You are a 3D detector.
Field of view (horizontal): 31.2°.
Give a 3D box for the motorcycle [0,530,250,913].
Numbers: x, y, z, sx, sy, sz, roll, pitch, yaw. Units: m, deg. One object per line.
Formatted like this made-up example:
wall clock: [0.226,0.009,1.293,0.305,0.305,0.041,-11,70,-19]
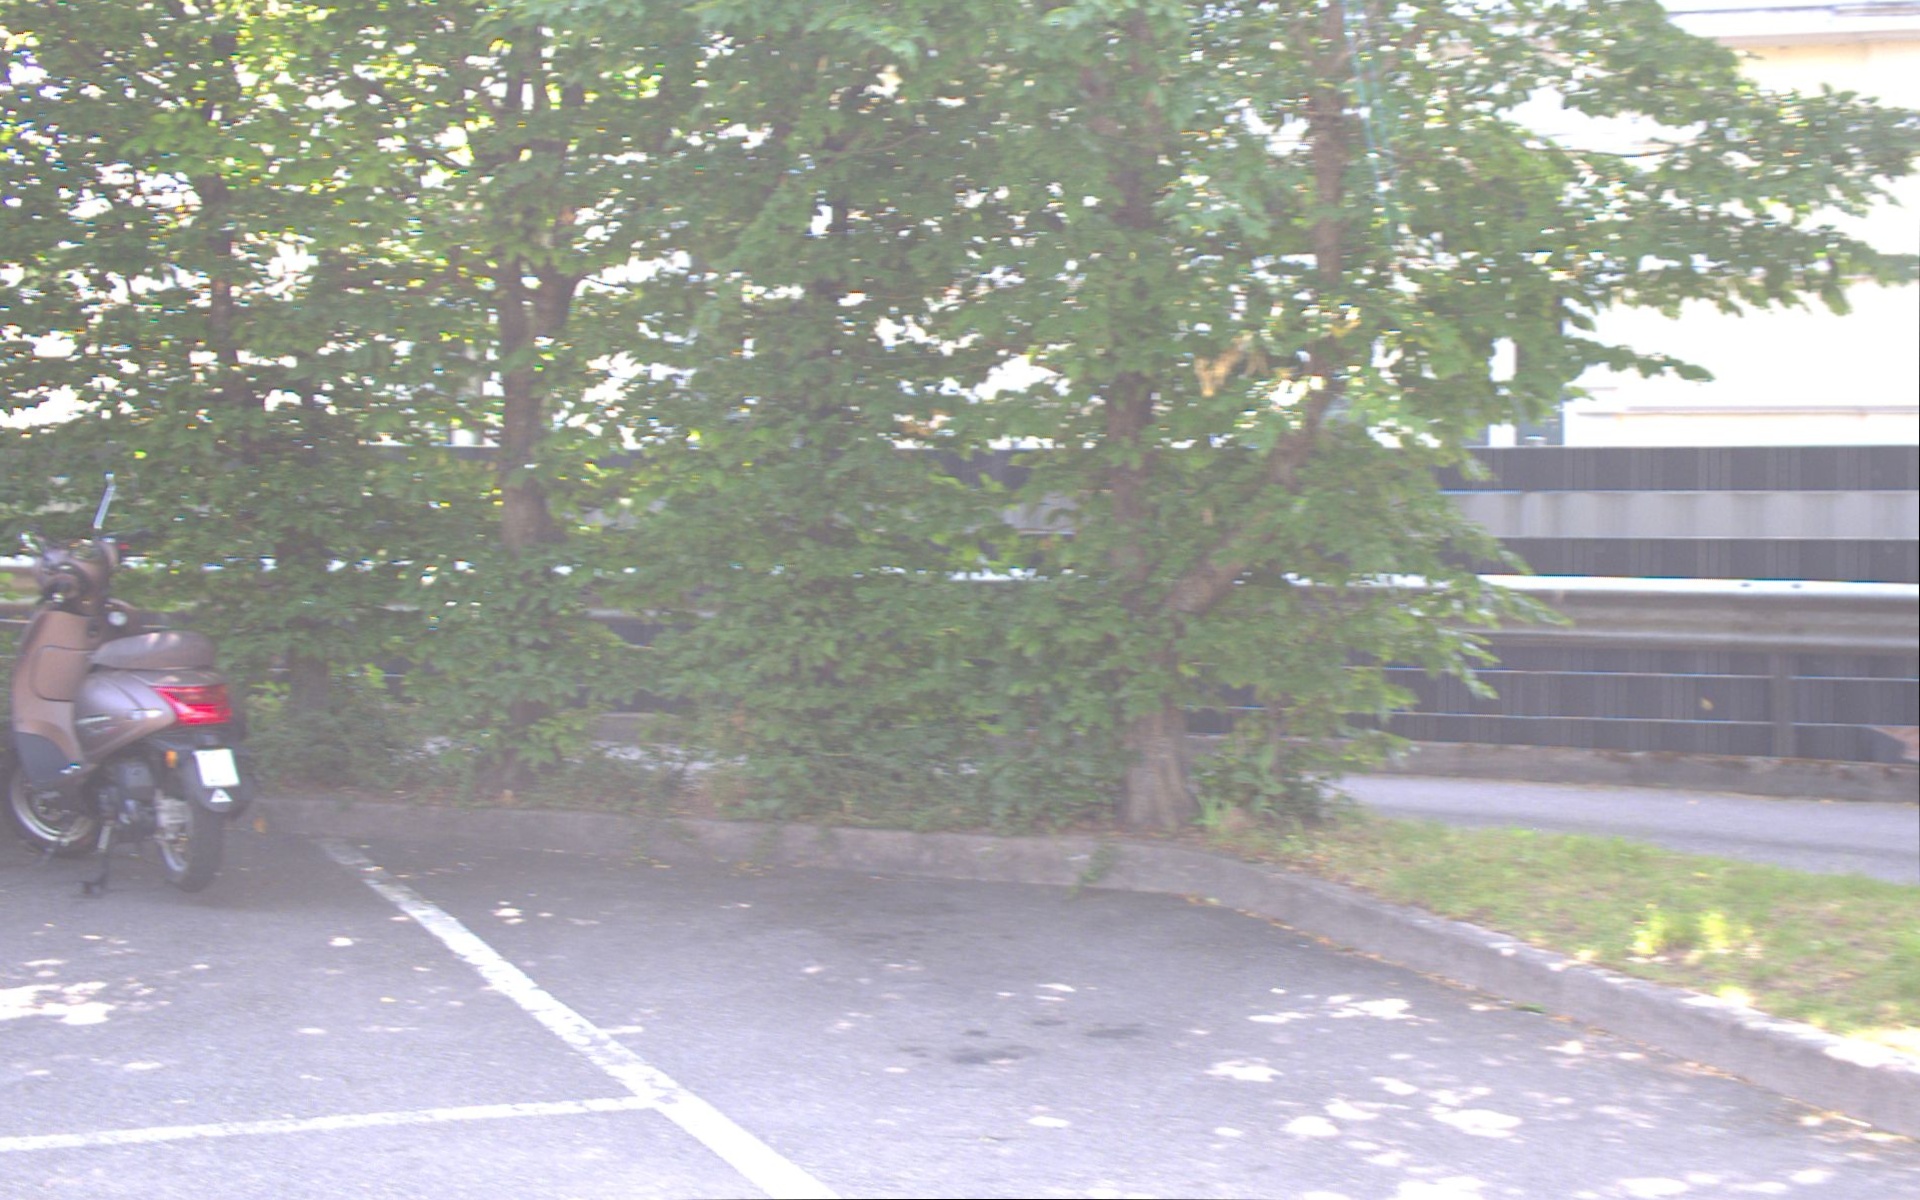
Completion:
motorcycle: [-2.930,0.362,11.577,0.568,1.165,1.606,-2,3,-30]
